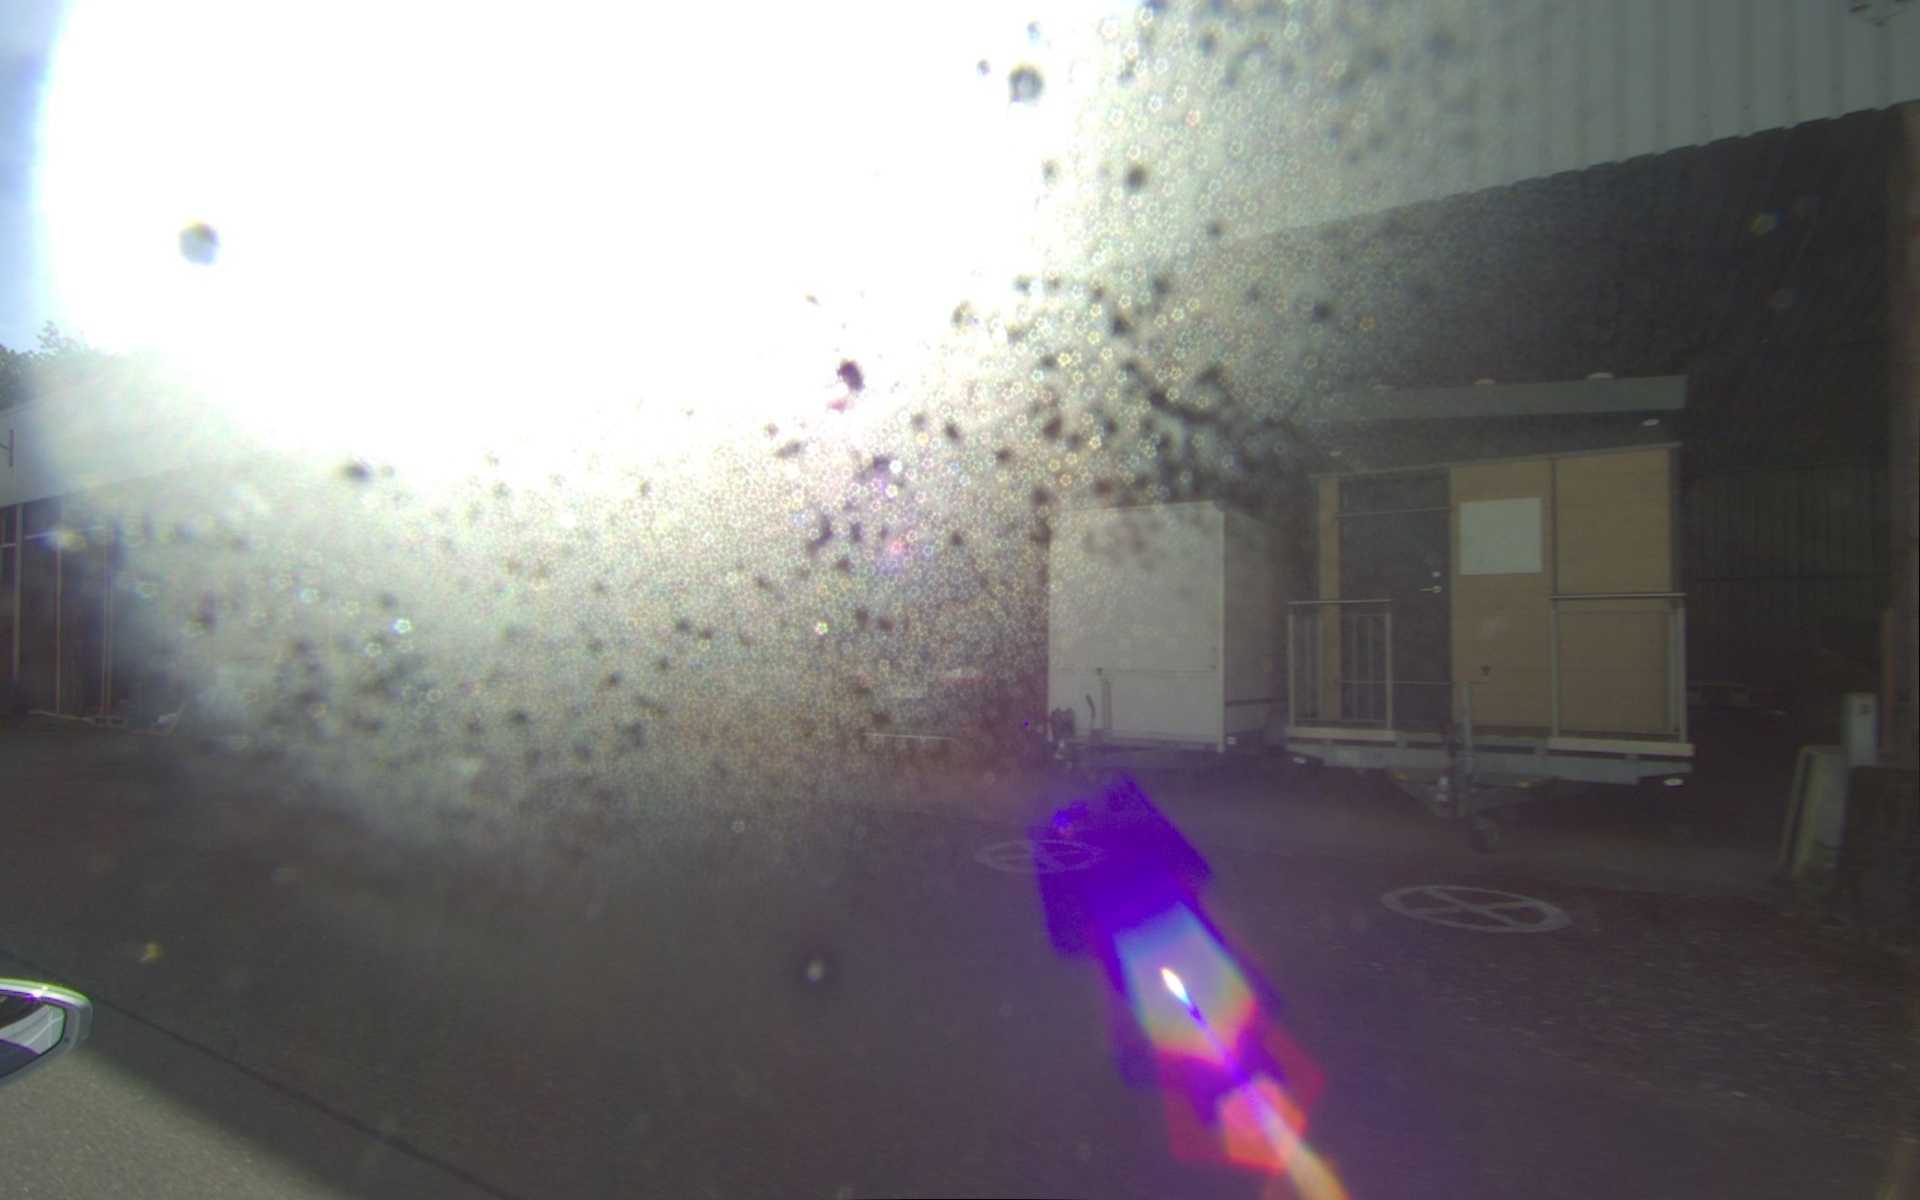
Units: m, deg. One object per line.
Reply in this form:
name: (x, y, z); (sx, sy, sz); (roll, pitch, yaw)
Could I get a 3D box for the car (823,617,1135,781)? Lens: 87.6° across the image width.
car: (0.440, 0.984, 11.431); (1.841, 1.490, 4.246); (-1, -2, 28)

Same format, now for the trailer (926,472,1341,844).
trailer: (1.809, 0.431, 8.843); (2.018, 2.372, 4.507); (-1, -1, 32)

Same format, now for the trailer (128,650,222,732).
trailer: (-11.441, 1.302, 14.579); (1.524, 1.133, 0.551); (-2, -1, 30)

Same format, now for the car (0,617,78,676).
car: (-32.591, 1.531, 33.117); (1.967, 1.940, 4.773); (-1, -3, 23)

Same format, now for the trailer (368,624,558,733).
trailer: (-7.498, 1.120, 15.168); (1.715, 1.485, 2.032); (-1, -1, 36)

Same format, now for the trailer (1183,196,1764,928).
trailer: (5.230, -0.077, 9.739); (2.761, 3.386, 10.250); (-1, -1, 32)

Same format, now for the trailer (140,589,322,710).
trailer: (-14.169, 0.927, 19.481); (2.762, 2.171, 1.918); (-1, -1, 30)

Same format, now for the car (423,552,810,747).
car: (-4.730, 0.698, 14.768); (2.121, 2.310, 5.326); (-2, -2, 31)

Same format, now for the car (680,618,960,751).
car: (-1.740, 1.055, 13.697); (1.812, 1.533, 3.962); (-1, -2, 28)
